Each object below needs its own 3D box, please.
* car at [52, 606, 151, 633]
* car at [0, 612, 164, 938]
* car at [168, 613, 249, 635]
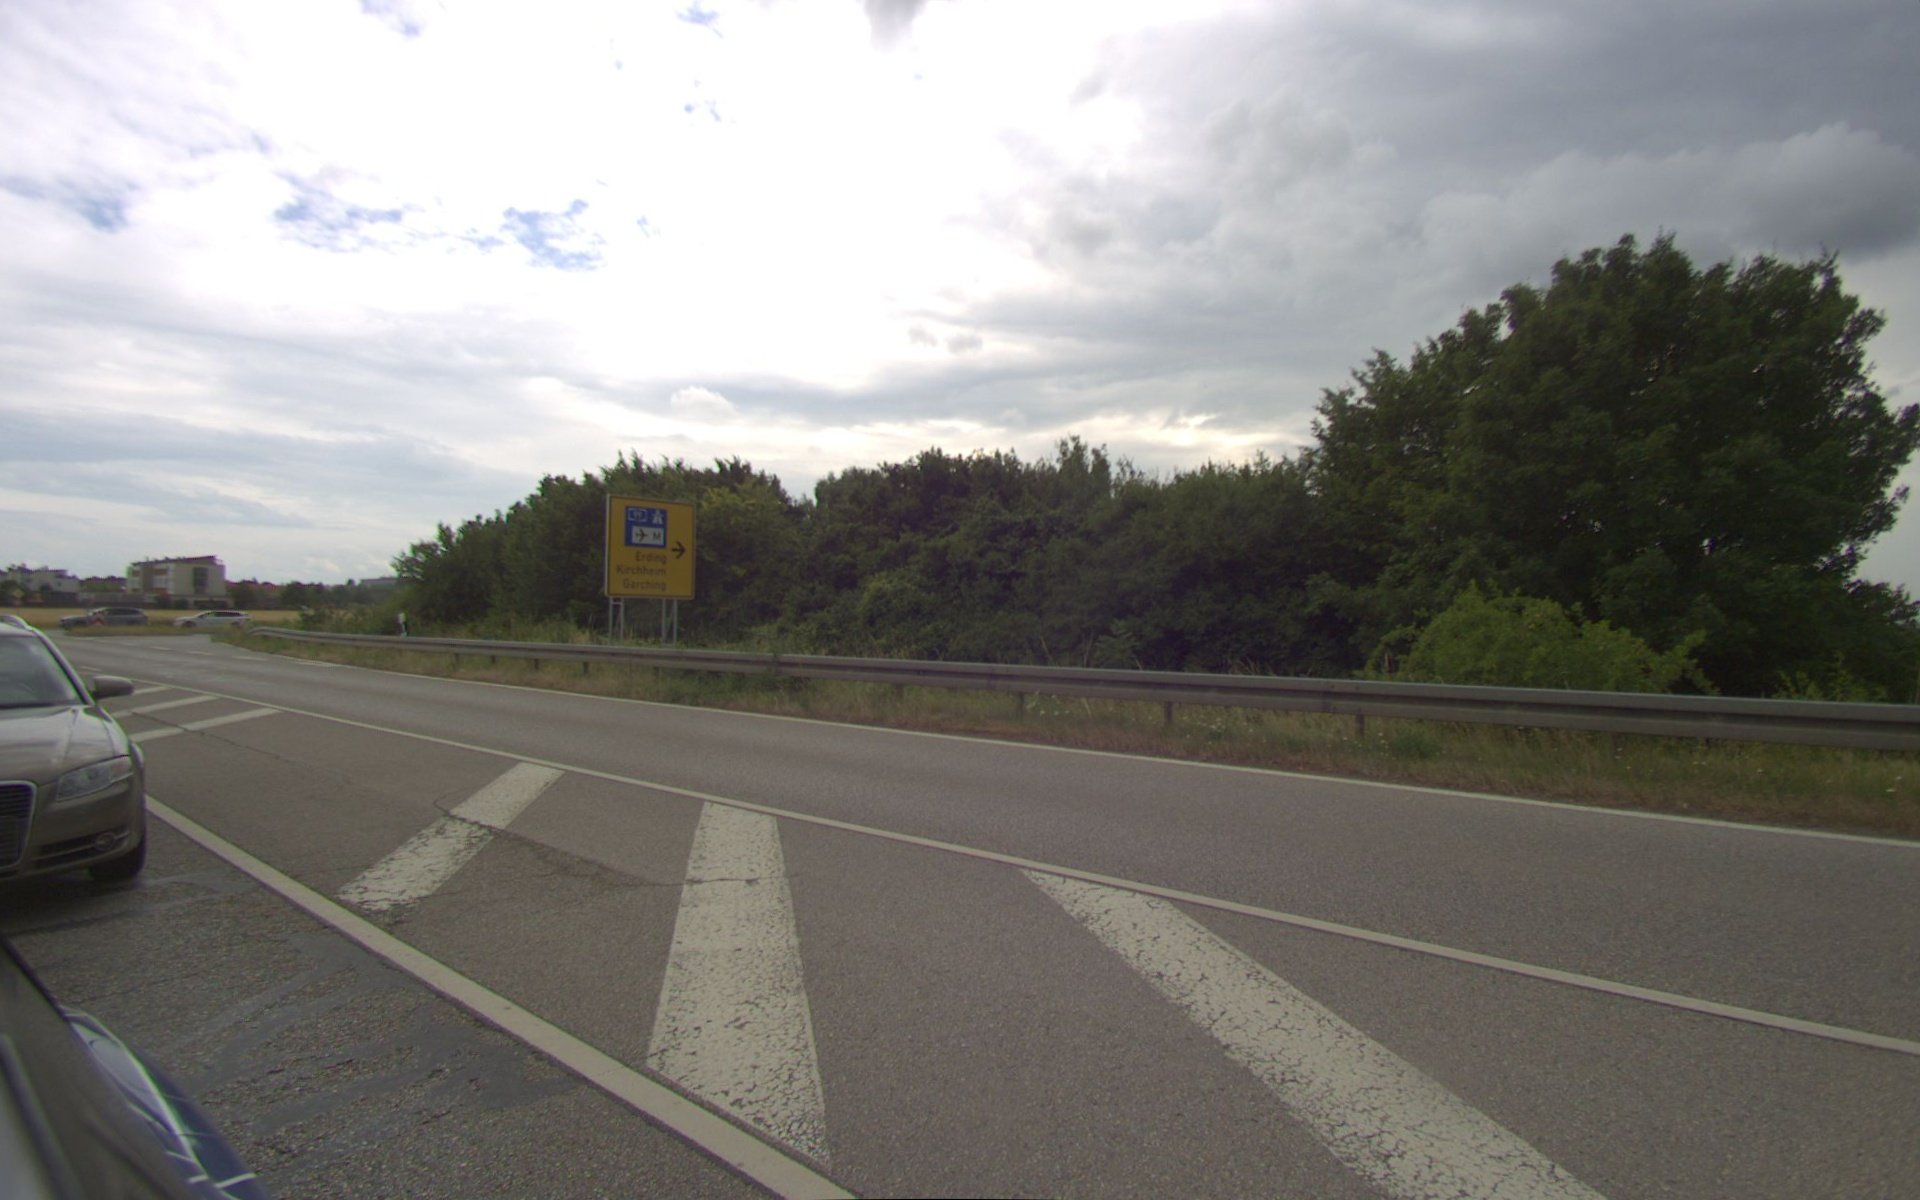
[{"bbox_3d":[-57.952,1.299,68.387,1.997,1.702,4.757,-1,-1,37],"label":"car"},{"bbox_3d":[-6.044,0.799,5.706,4.202,1.455,1.708,-1,-1,41],"label":"car"},{"bbox_3d":[-54.006,1.690,72.770,4.604,1.510,2.004,1,-1,-39],"label":"car"}]
